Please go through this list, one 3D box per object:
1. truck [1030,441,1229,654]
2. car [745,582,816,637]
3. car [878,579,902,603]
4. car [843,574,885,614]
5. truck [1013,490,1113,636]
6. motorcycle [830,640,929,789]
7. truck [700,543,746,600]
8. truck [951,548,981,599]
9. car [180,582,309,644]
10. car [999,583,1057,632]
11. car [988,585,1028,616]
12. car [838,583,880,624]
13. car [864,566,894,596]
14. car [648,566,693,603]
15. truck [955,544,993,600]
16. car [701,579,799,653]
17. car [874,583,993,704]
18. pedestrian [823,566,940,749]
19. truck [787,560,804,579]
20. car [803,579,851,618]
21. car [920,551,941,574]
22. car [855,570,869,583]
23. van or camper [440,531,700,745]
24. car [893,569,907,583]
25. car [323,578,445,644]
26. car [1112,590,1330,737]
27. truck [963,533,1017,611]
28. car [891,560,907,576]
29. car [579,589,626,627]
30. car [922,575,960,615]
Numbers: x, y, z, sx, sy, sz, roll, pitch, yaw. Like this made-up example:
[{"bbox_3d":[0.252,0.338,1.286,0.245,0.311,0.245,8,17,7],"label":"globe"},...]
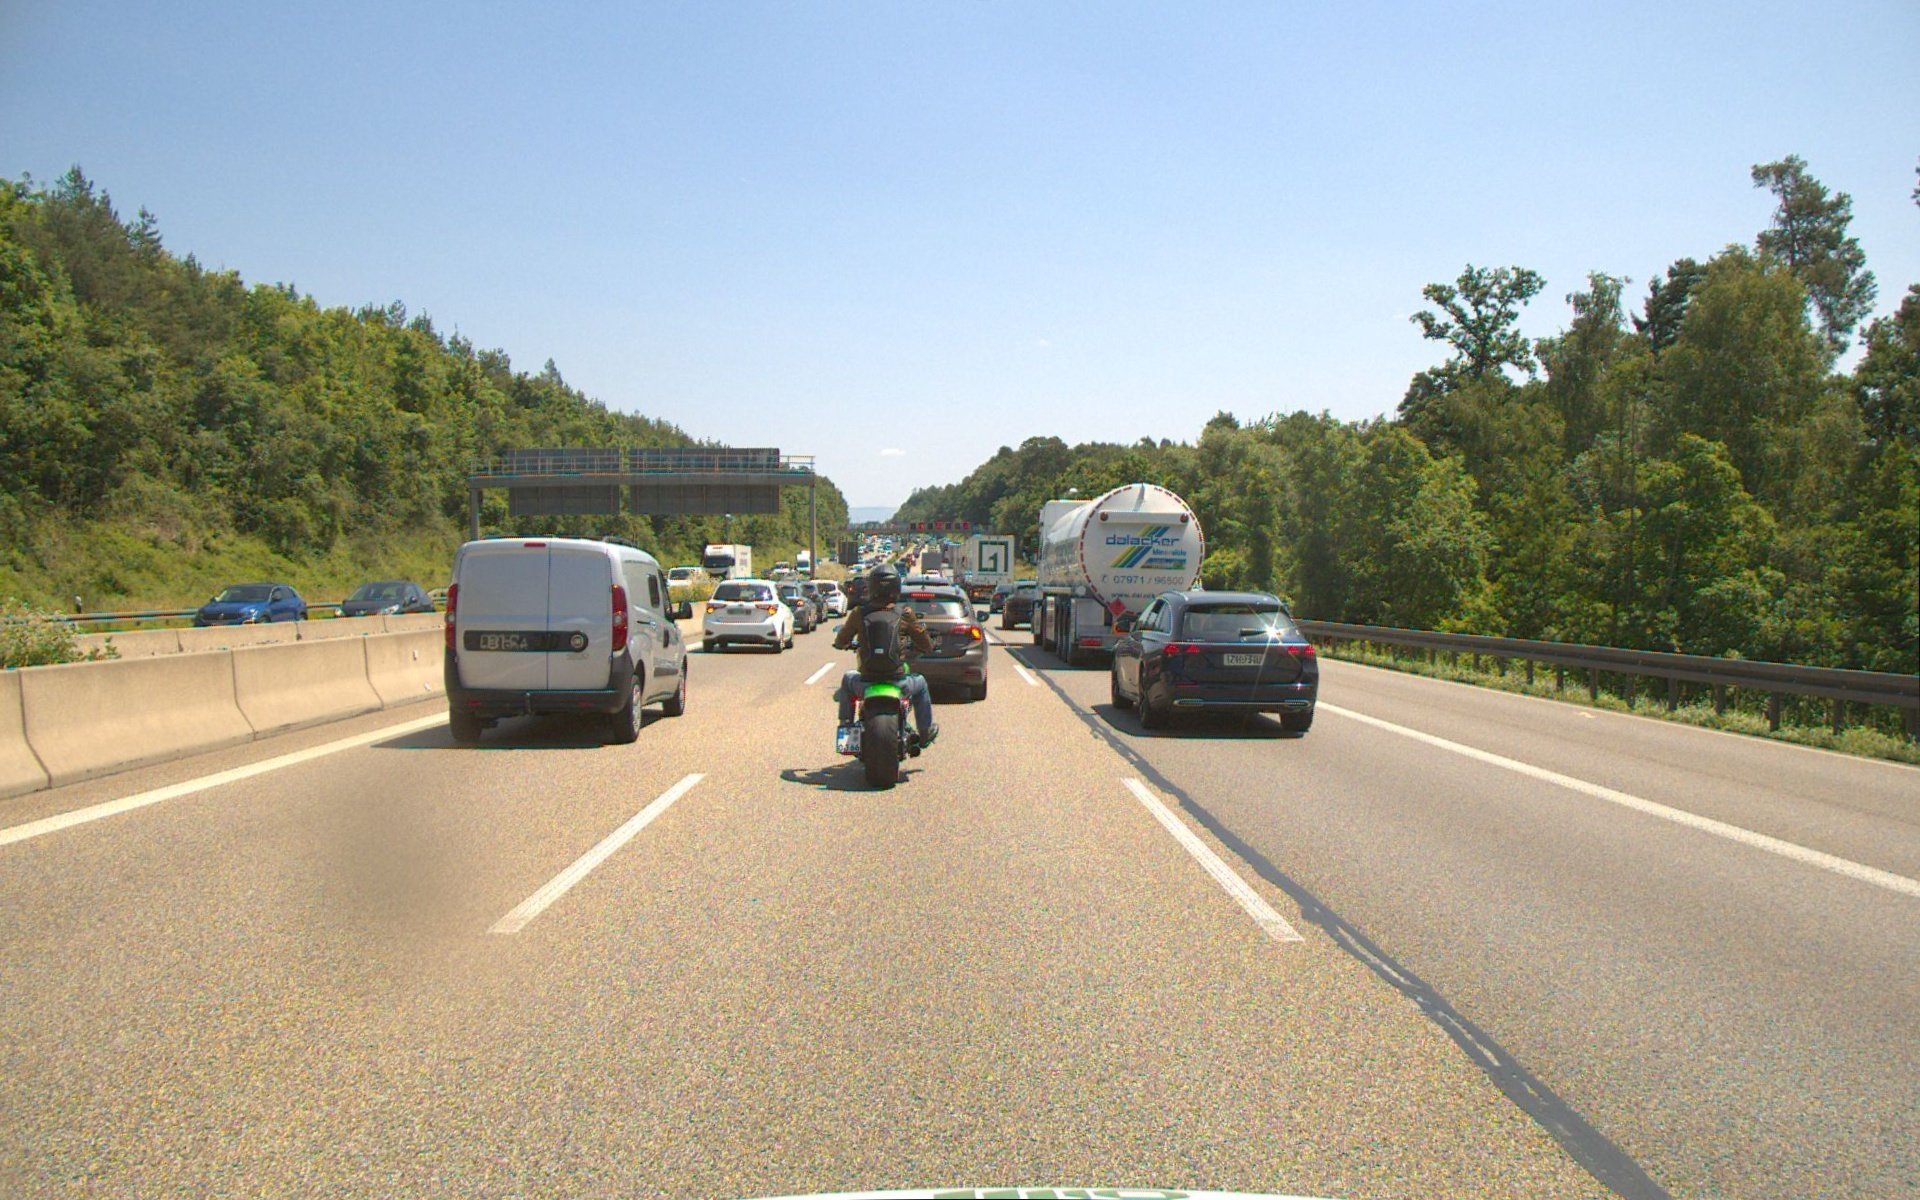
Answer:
[{"bbox_3d":[3.272,-0.923,34.630,2.927,3.735,9.285,-2,0,-1],"label":"truck"},{"bbox_3d":[-5.141,0.237,47.704,1.665,1.504,3.999,0,0,-1],"label":"car"},{"bbox_3d":[-6.274,-0.771,148.137,1.953,2.049,3.999,-2,0,-1],"label":"car"},{"bbox_3d":[-4.647,-0.313,80.621,1.842,1.892,3.999,0,0,-1],"label":"car"},{"bbox_3d":[2.643,-0.906,43.673,1.954,3.584,4.748,-2,-1,-3],"label":"truck"},{"bbox_3d":[-0.611,0.867,13.192,0.677,1.033,2.121,0,0,0],"label":"motorcycle"},{"bbox_3d":[-20.929,-2.463,146.565,2.709,4.823,10.469,0,0,-1],"label":"truck"},{"bbox_3d":[0.613,-2.753,175.741,2.971,5.229,9.981,1,0,-1],"label":"truck"},{"bbox_3d":[-19.566,0.319,45.416,1.842,1.621,3.999,0,0,-1],"label":"car"},{"bbox_3d":[2.282,0.224,56.102,1.751,1.583,3.803,0,0,-1],"label":"car"},{"bbox_3d":[2.275,0.009,78.952,1.751,1.398,3.803,0,0,-1],"label":"car"},{"bbox_3d":[-5.412,0.203,88.958,1.953,2.049,3.999,-2,0,0],"label":"car"},{"bbox_3d":[-5.828,-1.344,119.432,1.890,2.049,3.999,-2,0,0],"label":"car"},{"bbox_3d":[-17.457,-0.929,99.832,1.842,2.048,4.467,-3,0,-1],"label":"car"},{"bbox_3d":[1.118,-2.368,142.676,2.971,4.622,9.981,1,0,-1],"label":"truck"},{"bbox_3d":[-4.473,0.306,35.678,1.665,1.504,3.999,0,0,-1],"label":"car"},{"bbox_3d":[-0.395,0.548,22.999,1.502,1.536,3.999,0,0,-2],"label":"car"},{"bbox_3d":[-0.614,0.445,13.306,0.832,1.385,0.961,-2,0,0],"label":"pedestrian"},{"bbox_3d":[-23.385,-4.289,235.047,1.953,2.544,3.999,-2,-1,-1],"label":"truck"},{"bbox_3d":[-5.325,-0.075,66.672,1.665,1.504,3.999,0,0,-1],"label":"car"},{"bbox_3d":[-3.519,-4.460,198.365,2.453,2.632,5.015,0,0,-1],"label":"car"},{"bbox_3d":[-14.990,-3.577,252.101,1.953,2.049,3.999,0,0,-1],"label":"car"},{"bbox_3d":[-3.837,0.356,16.977,1.759,1.925,4.159,0,-1,-1],"label":"van or camper"},{"bbox_3d":[-8.864,-3.538,243.862,1.953,2.049,3.999,0,0,-1],"label":"car"},{"bbox_3d":[-15.014,0.262,43.327,1.842,1.621,3.999,0,0,-1],"label":"car"},{"bbox_3d":[2.847,0.635,18.863,1.791,1.496,3.999,0,0,-1],"label":"car"},{"bbox_3d":[1.802,-1.732,103.980,2.971,4.622,9.981,1,0,-1],"label":"truck"},{"bbox_3d":[-8.158,-4.218,220.813,1.953,2.049,3.999,0,0,-1],"label":"car"},{"bbox_3d":[-20.299,0.465,93.987,1.790,2.049,3.878,-2,0,-1],"label":"car"},{"bbox_3d":[-1.062,-0.243,90.657,1.953,2.049,3.999,-2,0,-1],"label":"car"}]
